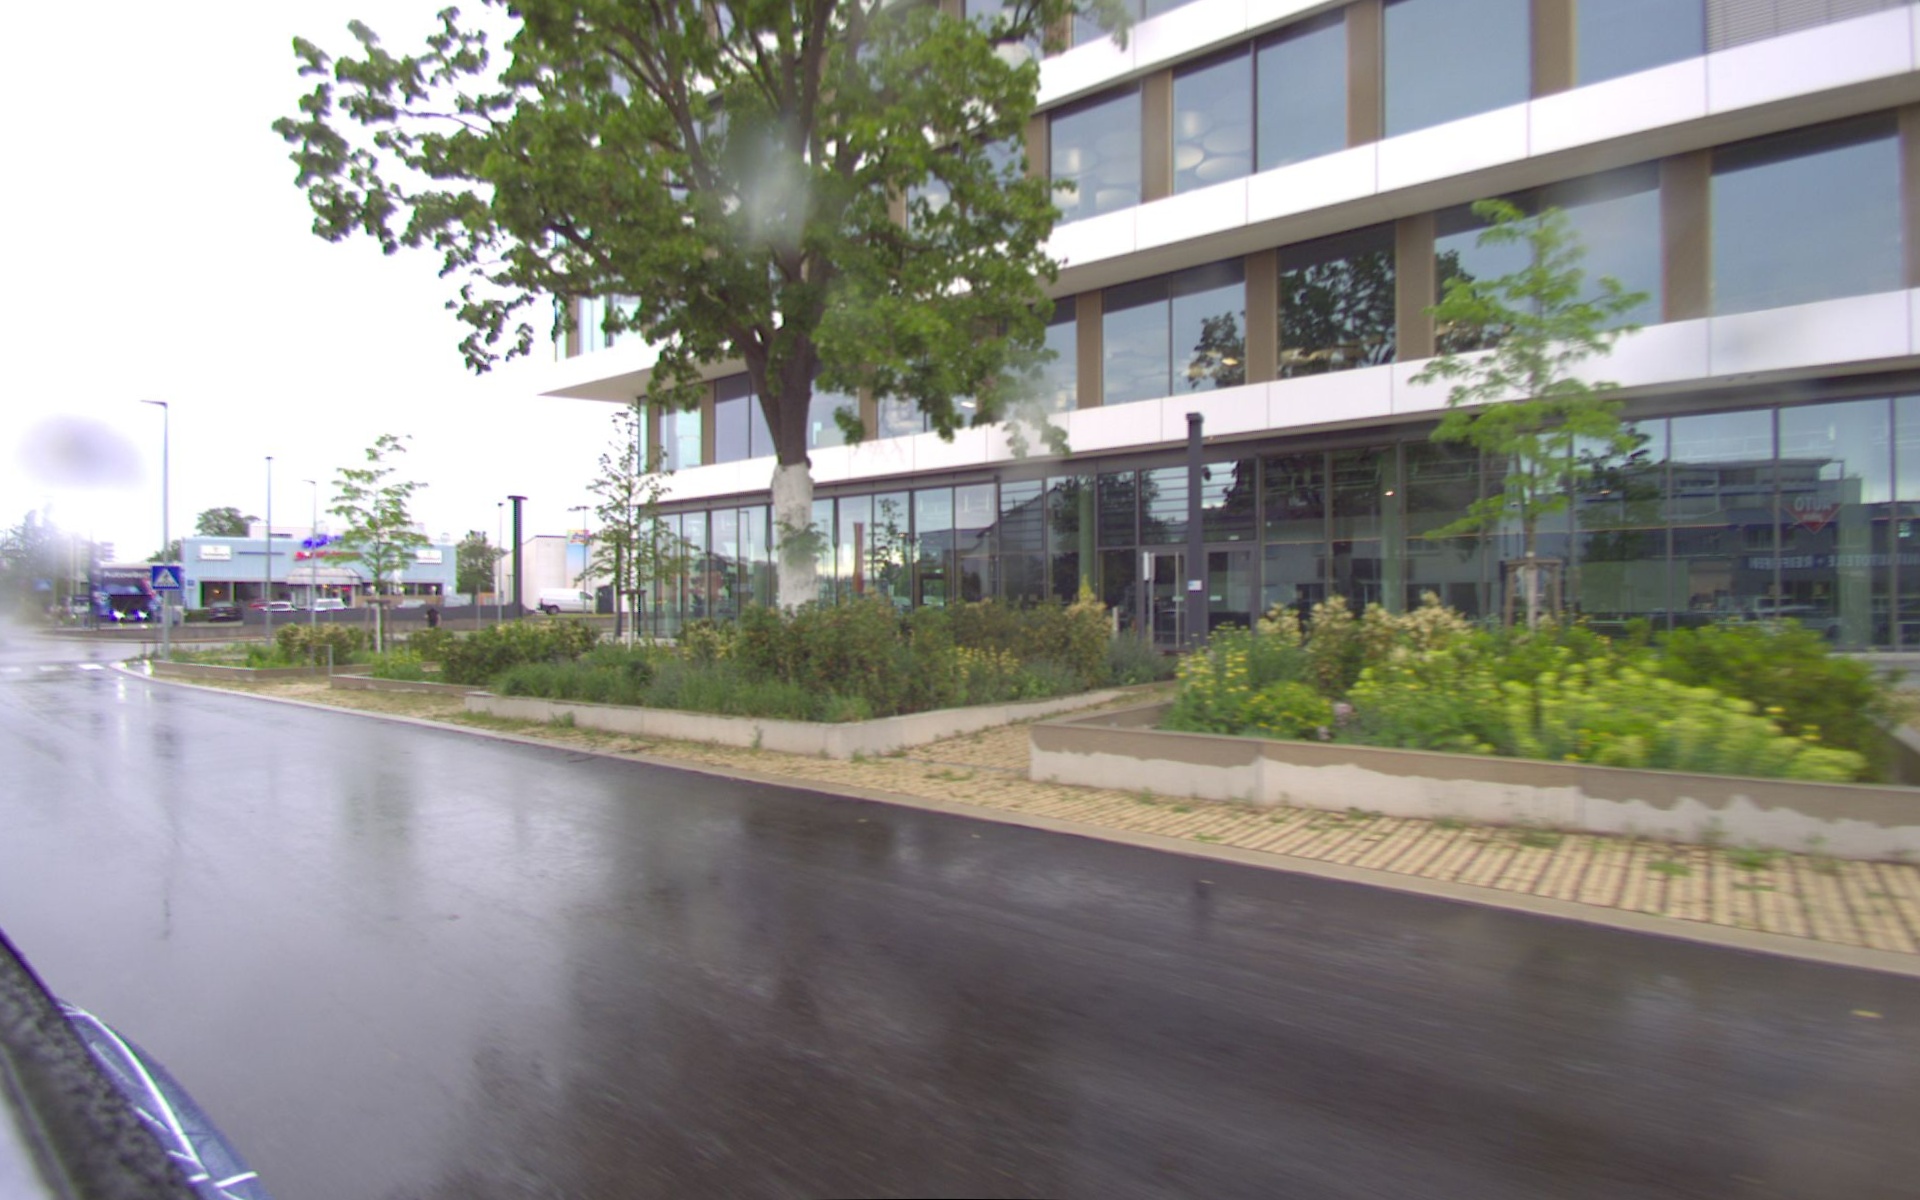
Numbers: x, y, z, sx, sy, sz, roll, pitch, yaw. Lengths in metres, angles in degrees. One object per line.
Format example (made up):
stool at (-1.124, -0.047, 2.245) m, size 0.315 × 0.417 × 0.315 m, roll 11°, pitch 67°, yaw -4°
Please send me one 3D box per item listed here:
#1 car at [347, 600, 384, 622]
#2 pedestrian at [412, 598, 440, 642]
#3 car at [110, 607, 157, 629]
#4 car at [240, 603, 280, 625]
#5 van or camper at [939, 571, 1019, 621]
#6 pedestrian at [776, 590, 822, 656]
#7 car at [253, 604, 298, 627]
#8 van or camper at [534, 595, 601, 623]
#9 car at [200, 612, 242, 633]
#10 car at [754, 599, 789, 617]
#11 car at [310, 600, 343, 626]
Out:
car at (-39.204, 0.696, 66.802) m, size 1.856 × 1.305 × 4.013 m, roll -4°, pitch 1°, yaw -28°
pedestrian at (-25.044, 0.953, 47.451) m, size 0.880 × 2.029 × 0.932 m, roll -1°, pitch 0°, yaw -45°
car at (-64.708, 1.413, 79.295) m, size 1.888 × 1.541 × 4.013 m, roll -3°, pitch 0°, yaw -26°
car at (-51.505, 1.000, 74.539) m, size 1.856 × 1.497 × 4.013 m, roll -4°, pitch 1°, yaw -28°
van or camper at (1.331, -0.280, 68.932) m, size 5.015 × 3.111 × 2.006 m, roll -3°, pitch 0°, yaw -31°
pedestrian at (-4.363, 0.612, 27.406) m, size 0.956 × 1.716 × 0.717 m, roll 1°, pitch 4°, yaw 41°
car at (-43.305, 0.981, 64.125) m, size 1.856 × 1.305 × 4.013 m, roll -4°, pitch 1°, yaw -28°
van or camper at (-28.835, 0.670, 74.359) m, size 4.307 × 1.774 × 1.894 m, roll -4°, pitch 1°, yaw -28°
car at (-53.313, 1.619, 73.087) m, size 1.856 × 1.305 × 4.013 m, roll -4°, pitch 1°, yaw -28°
car at (-16.607, 0.700, 89.198) m, size 1.764 × 1.564 × 4.012 m, roll -1°, pitch 0°, yaw -30°
car at (-41.256, 0.852, 65.940) m, size 1.764 × 1.564 × 4.012 m, roll -1°, pitch 0°, yaw -31°
